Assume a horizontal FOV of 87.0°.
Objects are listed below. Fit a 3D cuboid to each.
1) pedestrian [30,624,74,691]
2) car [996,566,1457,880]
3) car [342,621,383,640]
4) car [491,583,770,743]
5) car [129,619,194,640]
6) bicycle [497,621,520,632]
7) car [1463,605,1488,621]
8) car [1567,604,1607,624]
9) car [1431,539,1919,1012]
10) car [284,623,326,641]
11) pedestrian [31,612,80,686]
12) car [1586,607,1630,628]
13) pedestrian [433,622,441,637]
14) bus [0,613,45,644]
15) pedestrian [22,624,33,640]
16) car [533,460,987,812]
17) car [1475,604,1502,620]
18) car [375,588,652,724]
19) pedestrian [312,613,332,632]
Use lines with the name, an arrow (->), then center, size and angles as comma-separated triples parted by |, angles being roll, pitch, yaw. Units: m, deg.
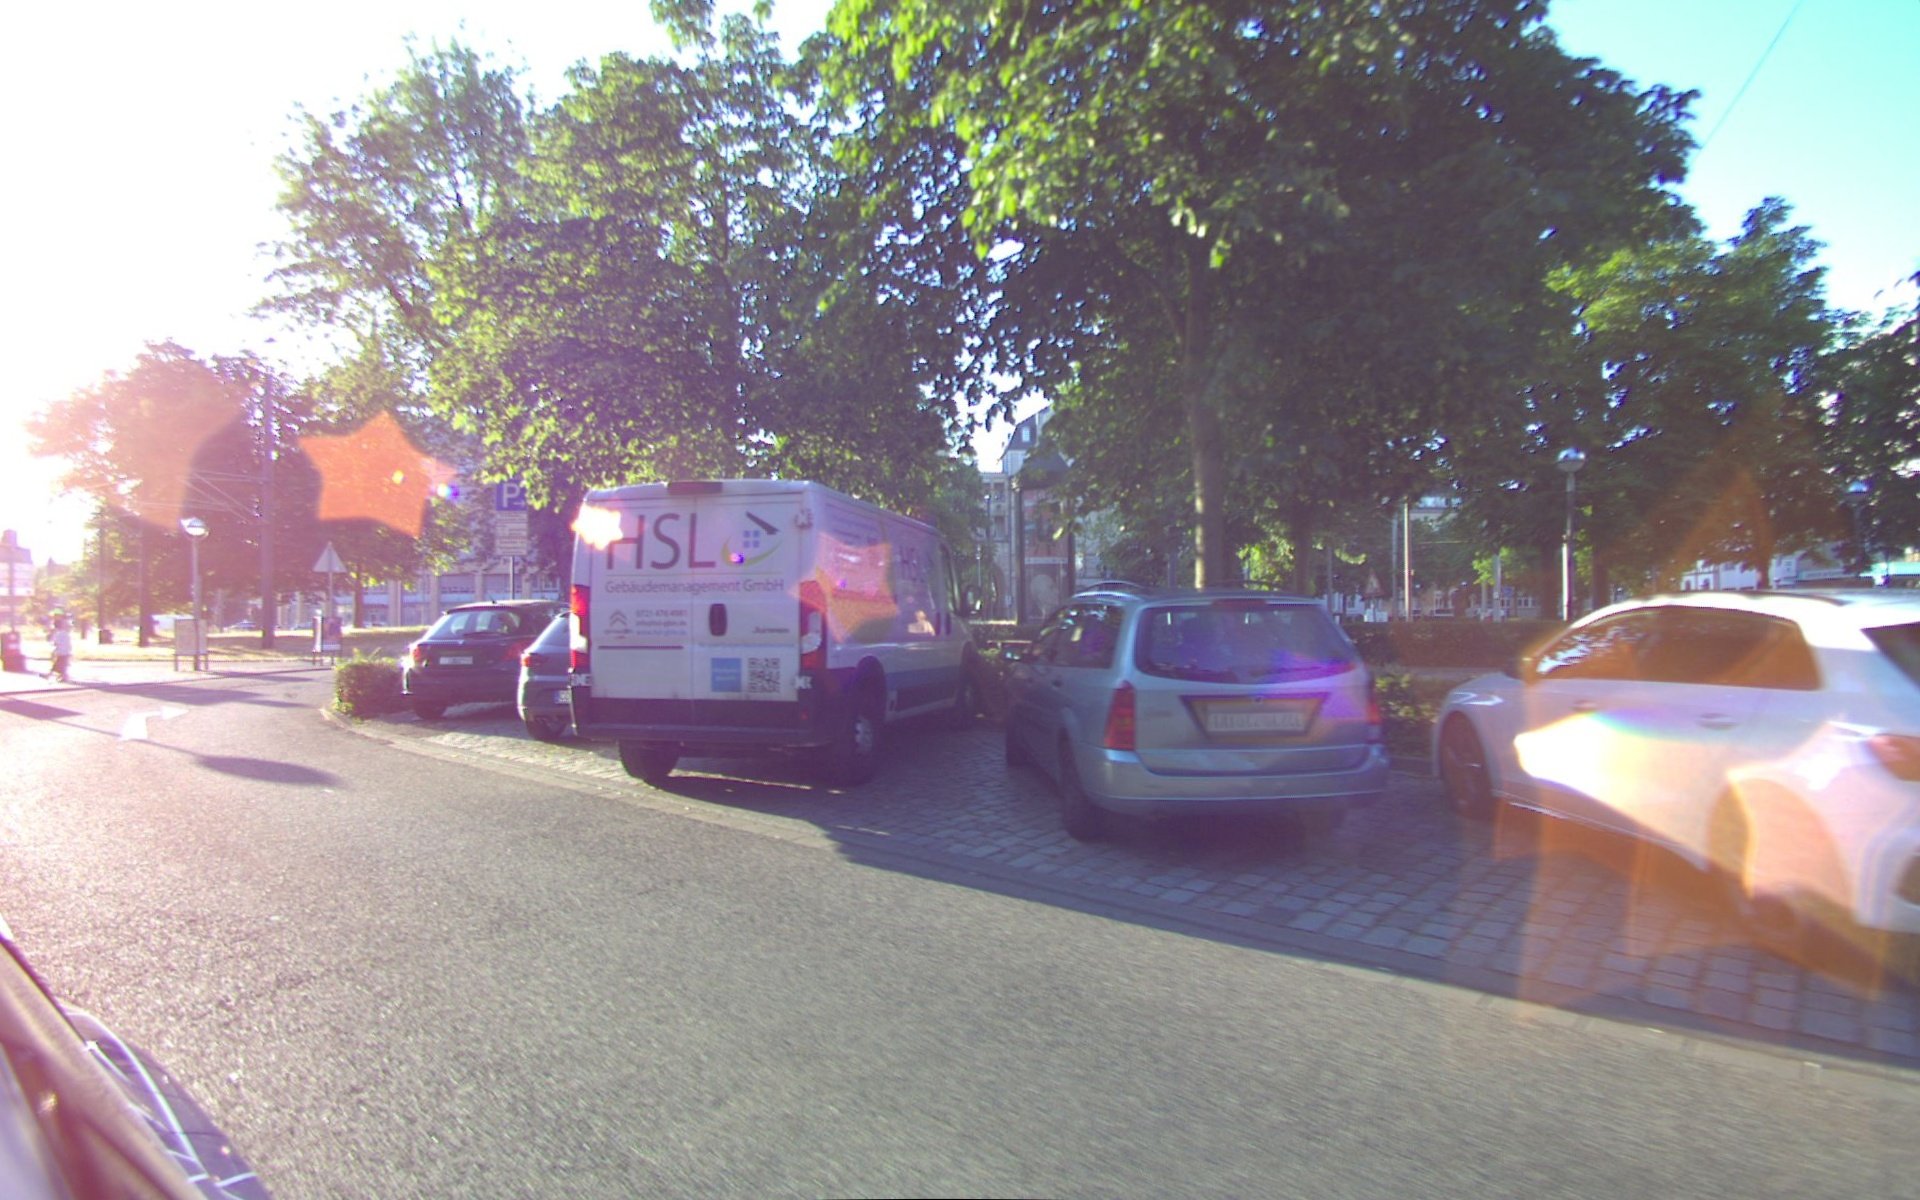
pedestrian -> -19.329, 1.205, 21.550 | 0.604, 1.374, 0.566 | -1, -1, -33
car -> 1.392, 0.618, 6.974 | 1.855, 1.479, 4.003 | -2, -1, -3
car -> -68.673, 3.516, 116.372 | 3.870, 2.029, 1.848 | -2, -1, 12
car -> -3.555, 0.628, 11.753 | 1.808, 1.498, 3.997 | -2, -1, 2
car -> -111.485, 4.111, 141.405 | 2.290, 2.900, 7.157 | -2, -2, 18
bicycle -> -48.584, 2.833, 108.809 | 2.168, 1.018, 0.473 | 6, -1, -4
car -> 62.326, 1.587, 122.465 | 1.983, 1.785, 3.977 | -2, -1, 17
car -> 54.085, 1.221, 87.328 | 1.983, 1.719, 3.977 | -1, -1, 17
car -> 4.037, 0.535, 4.850 | 1.826, 1.503, 3.996 | -1, 0, 3
car -> -76.682, 3.735, 118.464 | 3.958, 2.029, 1.904 | -2, -1, 12
pedestrian -> -19.924, 1.071, 22.303 | 0.683, 1.571, 0.701 | -1, -1, -32
car -> 52.336, 1.386, 81.802 | 1.983, 1.630, 3.977 | -1, 0, 17
pedestrian -> -60.681, 3.384, 117.367 | 0.614, 1.705, 0.527 | -2, -1, 24
bus -> -111.946, 3.339, 116.351 | 13.597, 3.388, 3.739 | -2, -1, 18
pedestrian -> -90.046, 3.092, 97.721 | 0.698, 1.470, 0.664 | -2, -1, 37
car -> -1.358, 0.248, 9.044 | 2.182, 2.268, 4.592 | -1, 0, 15
car -> 60.053, 1.345, 115.102 | 1.983, 1.696, 3.977 | -2, -1, 17
car -> -5.930, 0.674, 13.998 | 1.781, 1.594, 3.876 | -1, 0, 6
pedestrian -> -72.488, 2.527, 114.959 | 1.617, 2.110, 1.055 | -2, -1, 13
